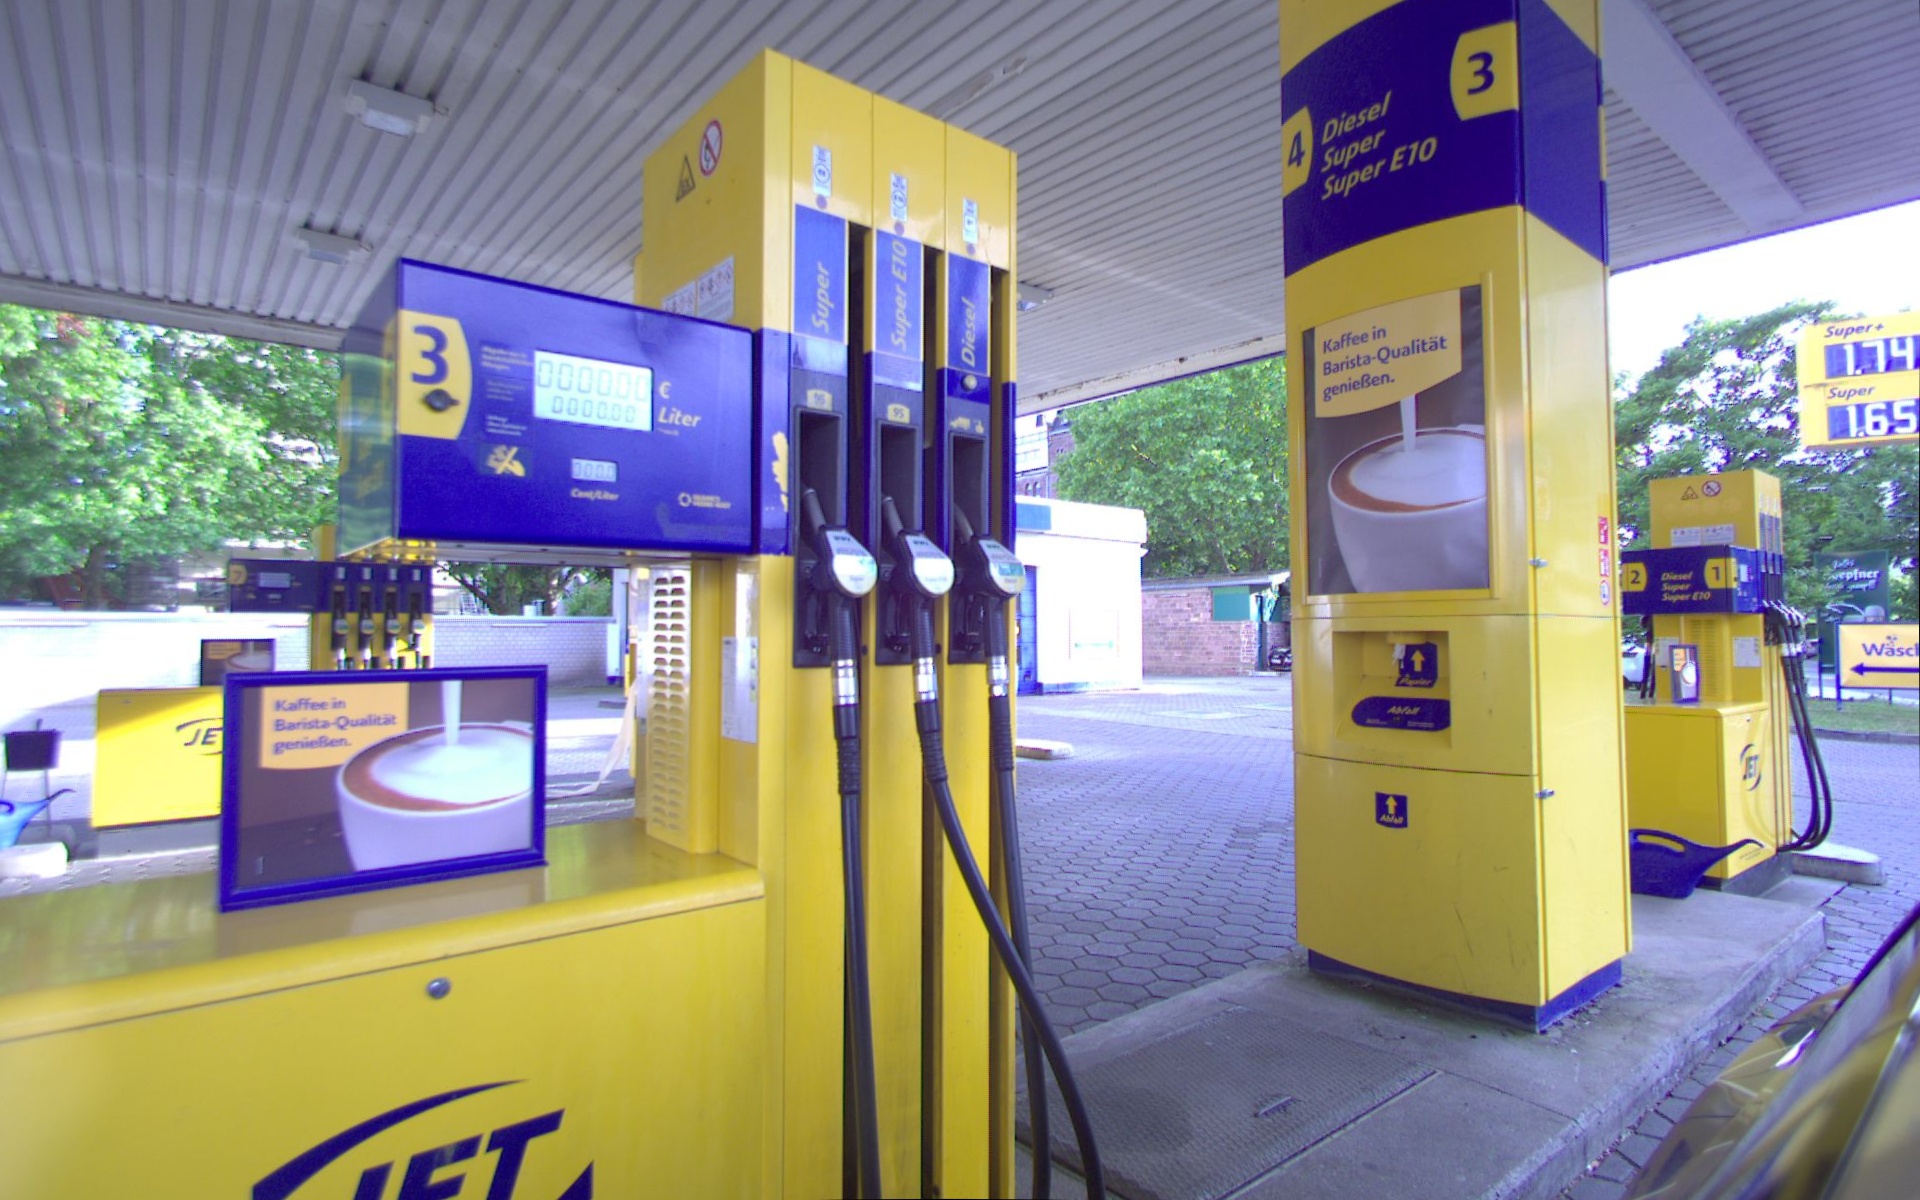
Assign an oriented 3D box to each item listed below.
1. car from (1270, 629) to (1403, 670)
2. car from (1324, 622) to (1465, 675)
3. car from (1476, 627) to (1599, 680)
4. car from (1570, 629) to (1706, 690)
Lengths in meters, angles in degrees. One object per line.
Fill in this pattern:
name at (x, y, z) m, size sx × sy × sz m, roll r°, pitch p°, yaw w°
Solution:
car at (12.830, 1.698, 34.498) m, size 4.134 × 1.294 × 1.751 m, roll 2°, pitch -3°, yaw -22°
car at (13.789, 1.547, 32.149) m, size 4.134 × 1.544 × 1.791 m, roll 2°, pitch -3°, yaw -24°
car at (17.556, 1.641, 30.750) m, size 3.923 × 1.529 × 1.740 m, roll 3°, pitch -3°, yaw -35°
car at (18.221, 1.562, 27.162) m, size 3.923 × 1.529 × 1.740 m, roll 2°, pitch -3°, yaw -35°
